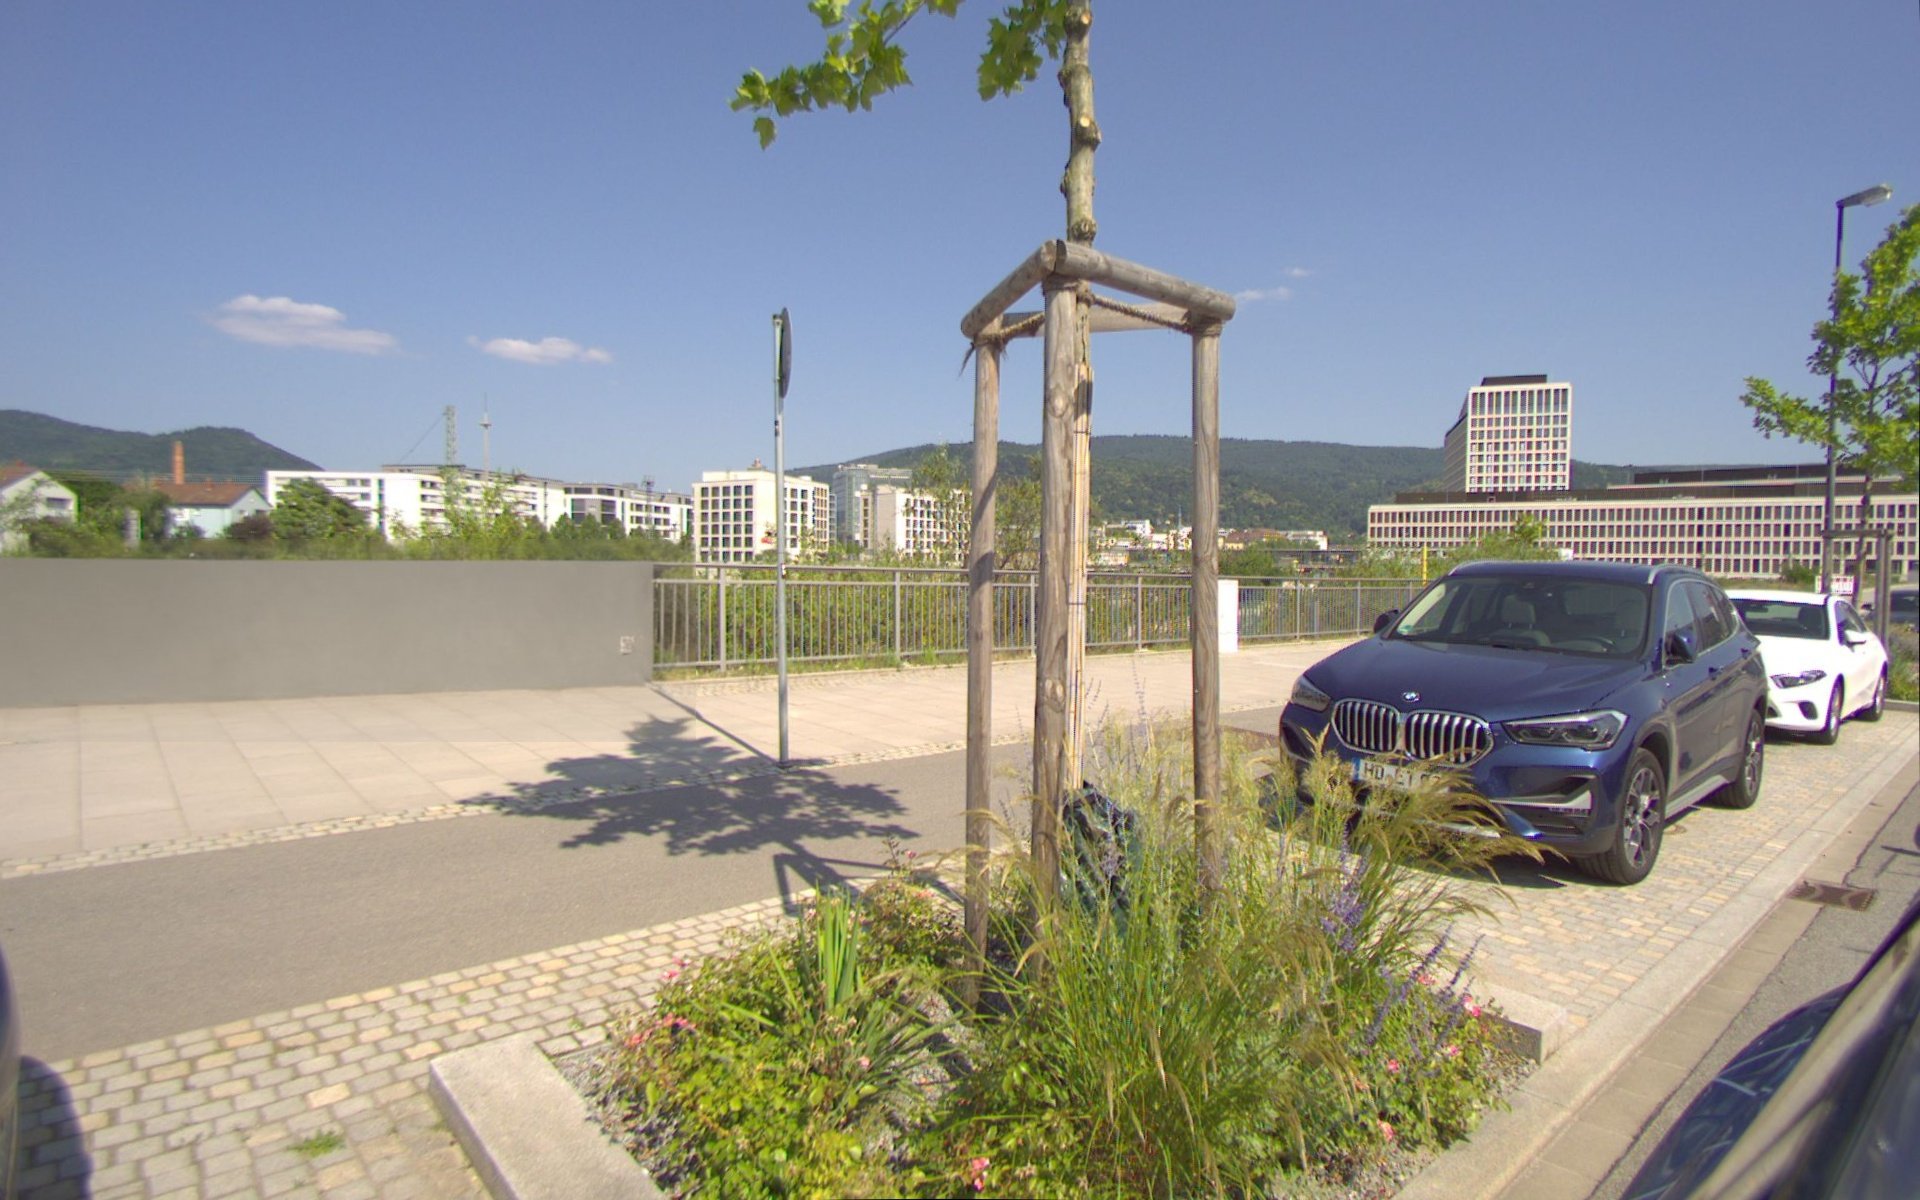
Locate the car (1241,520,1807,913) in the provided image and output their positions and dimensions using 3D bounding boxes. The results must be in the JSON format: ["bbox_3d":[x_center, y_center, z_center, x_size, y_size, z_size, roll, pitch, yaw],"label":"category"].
[{"bbox_3d":[3.781,0.418,6.443,4.197,1.703,1.807,-1,4,-41],"label":"car"}]

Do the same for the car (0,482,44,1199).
[{"bbox_3d":[-2.844,0.606,0.507,3.485,1.574,1.585,0,4,-41],"label":"car"}]

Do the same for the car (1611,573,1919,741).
[{"bbox_3d":[8.838,0.458,10.977,4.194,1.390,1.711,-1,5,-39],"label":"car"}]

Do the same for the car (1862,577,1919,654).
[{"bbox_3d":[20.262,0.304,20.978,3.849,1.449,1.808,-1,5,-41],"label":"car"}]
